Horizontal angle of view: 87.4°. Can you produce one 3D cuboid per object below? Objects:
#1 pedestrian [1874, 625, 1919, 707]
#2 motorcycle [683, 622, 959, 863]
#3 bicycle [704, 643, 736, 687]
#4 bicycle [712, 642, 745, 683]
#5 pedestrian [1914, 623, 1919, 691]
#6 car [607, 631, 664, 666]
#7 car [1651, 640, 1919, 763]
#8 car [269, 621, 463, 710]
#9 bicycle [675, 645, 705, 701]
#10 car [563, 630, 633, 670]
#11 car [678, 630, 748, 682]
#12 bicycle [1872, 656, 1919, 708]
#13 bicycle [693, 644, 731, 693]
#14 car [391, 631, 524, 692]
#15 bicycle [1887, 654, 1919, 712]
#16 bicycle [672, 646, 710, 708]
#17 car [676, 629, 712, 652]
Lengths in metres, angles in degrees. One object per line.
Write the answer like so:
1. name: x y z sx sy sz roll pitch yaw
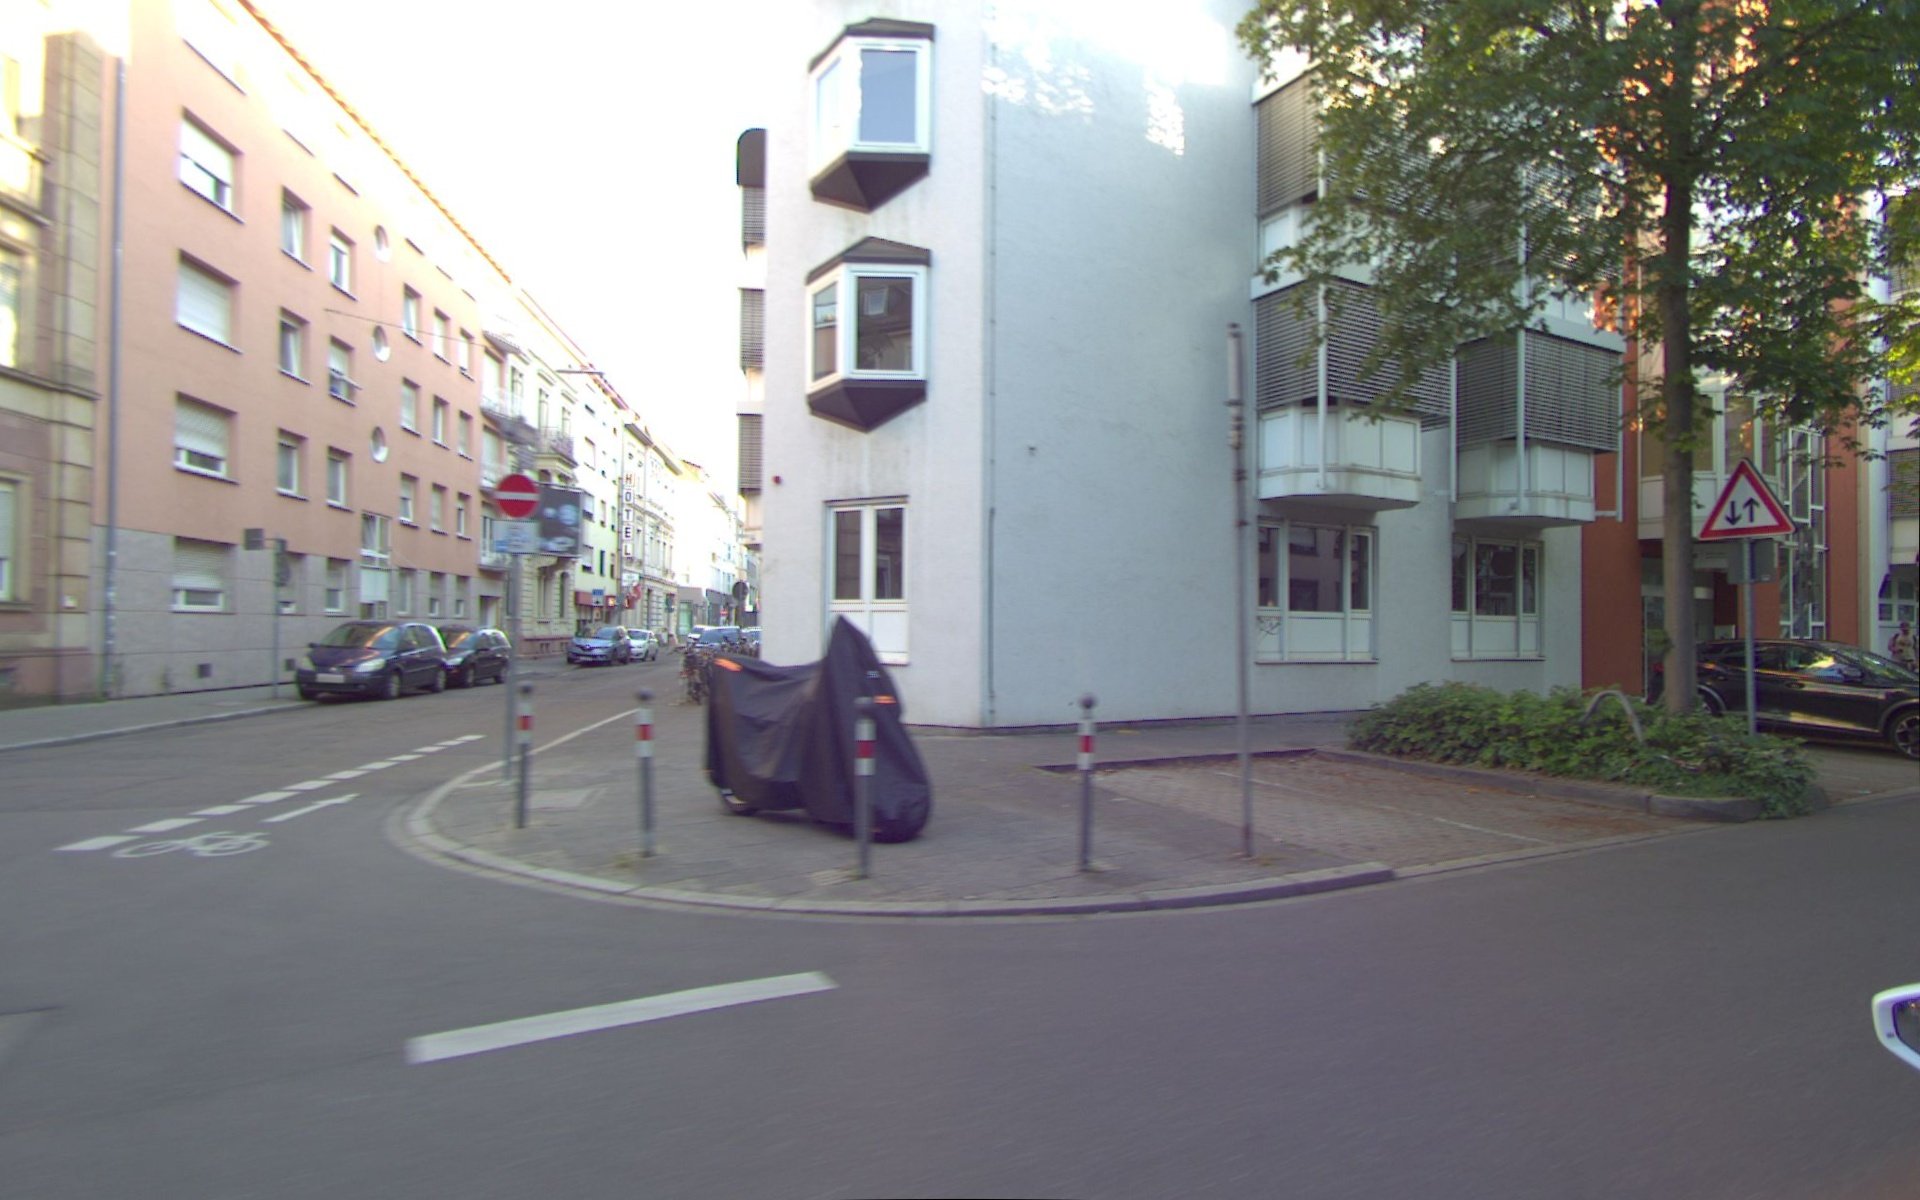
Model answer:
1. pedestrian: 20.775 1.437 22.075 0.726 1.780 0.705 1 -1 -6
2. motorcycle: -1.091 0.929 7.459 2.184 1.501 0.854 0 0 43
3. bicycle: -6.393 1.715 26.803 0.574 1.122 1.799 -1 -2 -5
4. bicycle: -6.715 1.791 29.221 0.604 1.122 1.800 -1 -2 -3
5. pedestrian: 25.311 1.478 25.980 0.894 1.751 0.700 2 -1 -29
6. car: -15.671 2.305 48.738 1.792 1.508 4.142 3 -2 -7
7. car: 12.765 1.398 14.580 1.906 1.506 4.108 1 -1 -30
8. car: -12.488 1.315 21.470 1.963 1.612 4.142 3 -2 -7
9. bicycle: -5.814 1.553 21.699 0.491 1.122 1.797 -1 -2 -11
10. car: -14.920 2.043 41.563 1.865 1.435 3.685 3 -2 -7
11. car: -8.207 1.828 33.709 1.767 1.559 4.142 2 -2 -7
12. bicycle: 20.373 1.743 21.187 0.491 1.043 1.798 1 -1 -6
13. bicycle: -6.001 1.633 24.360 0.628 1.122 1.799 -1 -2 -5
14. car: -13.120 1.555 26.514 1.804 1.365 4.005 3 -2 -7
15. bicycle: 19.712 1.680 20.011 1.771 1.122 0.498 1 0 38
16. bicycle: -5.240 1.481 19.624 0.572 1.122 1.797 -1 -2 -11
17. car: -19.346 2.939 73.229 1.898 1.502 4.142 3 -2 -7
